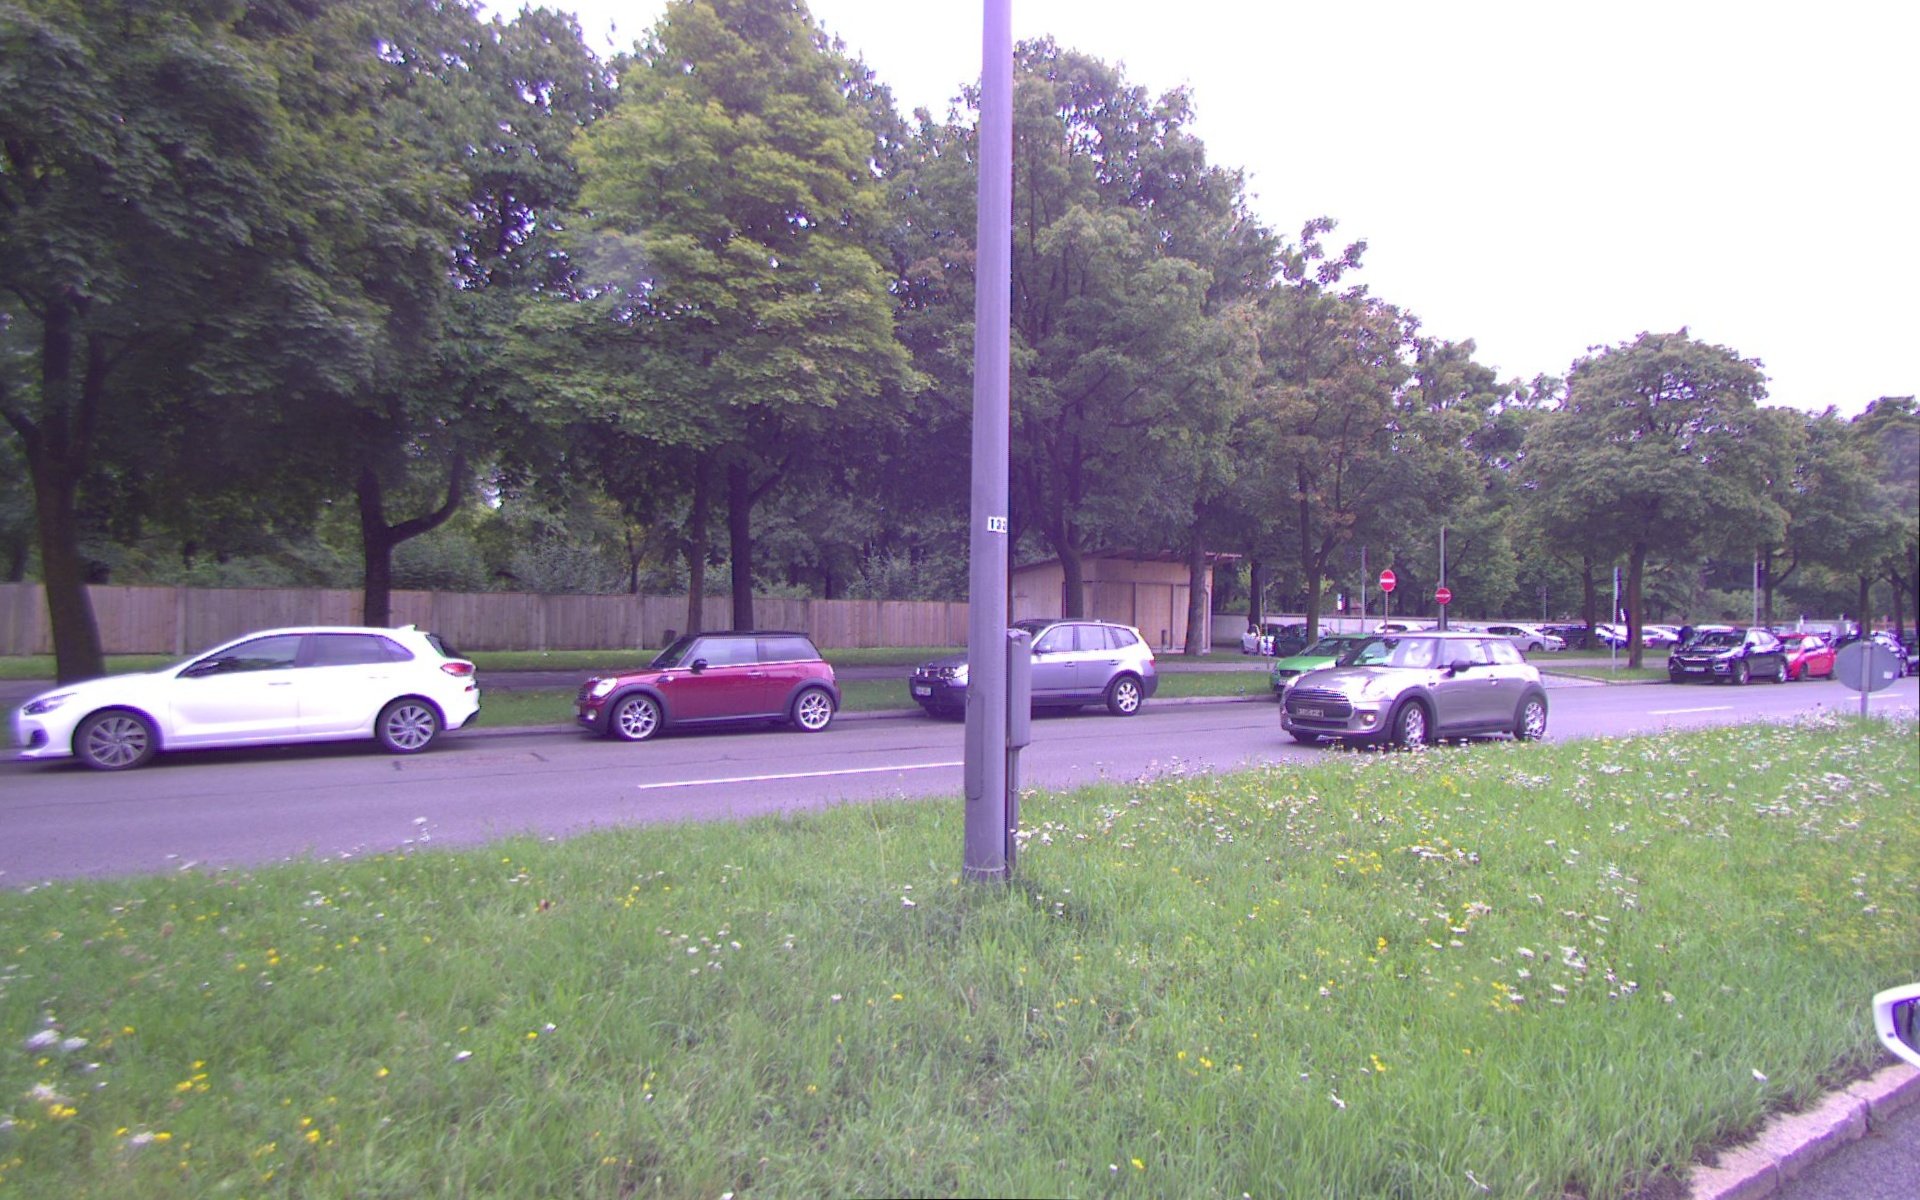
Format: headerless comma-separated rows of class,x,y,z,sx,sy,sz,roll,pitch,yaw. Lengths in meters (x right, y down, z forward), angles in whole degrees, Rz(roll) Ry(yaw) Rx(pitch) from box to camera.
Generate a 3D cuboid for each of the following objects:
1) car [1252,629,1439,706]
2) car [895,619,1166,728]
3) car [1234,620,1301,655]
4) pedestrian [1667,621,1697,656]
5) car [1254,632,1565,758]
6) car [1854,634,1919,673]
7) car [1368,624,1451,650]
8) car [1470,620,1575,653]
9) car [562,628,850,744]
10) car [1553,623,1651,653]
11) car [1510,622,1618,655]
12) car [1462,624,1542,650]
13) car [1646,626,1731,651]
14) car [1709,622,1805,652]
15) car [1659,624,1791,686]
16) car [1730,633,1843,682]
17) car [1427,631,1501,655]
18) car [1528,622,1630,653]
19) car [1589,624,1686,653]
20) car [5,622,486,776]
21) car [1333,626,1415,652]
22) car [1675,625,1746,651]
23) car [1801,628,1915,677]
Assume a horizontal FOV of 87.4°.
car,8.273,1.387,21.504,3.953,1.519,1.633,1,-2,-30
car,1.257,1.174,17.141,4.406,1.652,1.812,1,-2,-31
car,13.694,1.637,44.915,1.822,1.428,3.859,1,-1,0
pedestrian,31.764,1.690,44.186,0.846,1.515,0.791,1,-1,-29
car,5.771,1.131,12.864,3.720,1.400,1.711,1,-3,-28
car,36.201,2.041,38.404,3.951,1.428,1.814,1,-3,-29
car,28.009,2.291,62.719,1.977,1.461,4.483,1,-1,-31
car,26.757,1.716,47.874,1.981,1.461,3.960,1,-1,-36
car,-3.545,1.150,14.147,3.643,1.440,1.642,1,-3,-30
car,33.888,1.972,53.085,1.981,1.461,3.960,1,-1,-36
car,29.470,1.872,49.106,1.978,1.461,4.111,1,-1,-32
car,37.196,2.526,69.039,1.977,1.647,4.483,1,-1,-31
car,45.980,2.421,63.428,1.981,1.461,3.960,1,-1,-36
car,45.865,2.112,57.900,1.792,1.591,3.970,1,-1,-28
car,23.070,1.644,30.246,4.193,1.722,1.811,3,-1,-32
car,27.425,1.892,33.331,3.768,1.499,1.811,3,-1,-32
car,32.279,2.738,64.470,1.853,1.391,3.975,1,-1,-25
car,31.460,1.872,51.119,1.981,1.461,3.960,1,-1,-36
car,36.937,2.083,54.806,1.981,1.461,3.960,1,-1,-36
car,-7.884,1.046,11.615,4.209,1.496,1.813,1,-3,-30
car,25.615,2.423,62.283,1.975,1.461,4.488,1,-1,-28
car,64.410,3.227,86.265,1.977,2.061,4.483,1,-1,-31
car,31.627,1.831,35.376,4.063,1.620,1.813,1,-1,-30
